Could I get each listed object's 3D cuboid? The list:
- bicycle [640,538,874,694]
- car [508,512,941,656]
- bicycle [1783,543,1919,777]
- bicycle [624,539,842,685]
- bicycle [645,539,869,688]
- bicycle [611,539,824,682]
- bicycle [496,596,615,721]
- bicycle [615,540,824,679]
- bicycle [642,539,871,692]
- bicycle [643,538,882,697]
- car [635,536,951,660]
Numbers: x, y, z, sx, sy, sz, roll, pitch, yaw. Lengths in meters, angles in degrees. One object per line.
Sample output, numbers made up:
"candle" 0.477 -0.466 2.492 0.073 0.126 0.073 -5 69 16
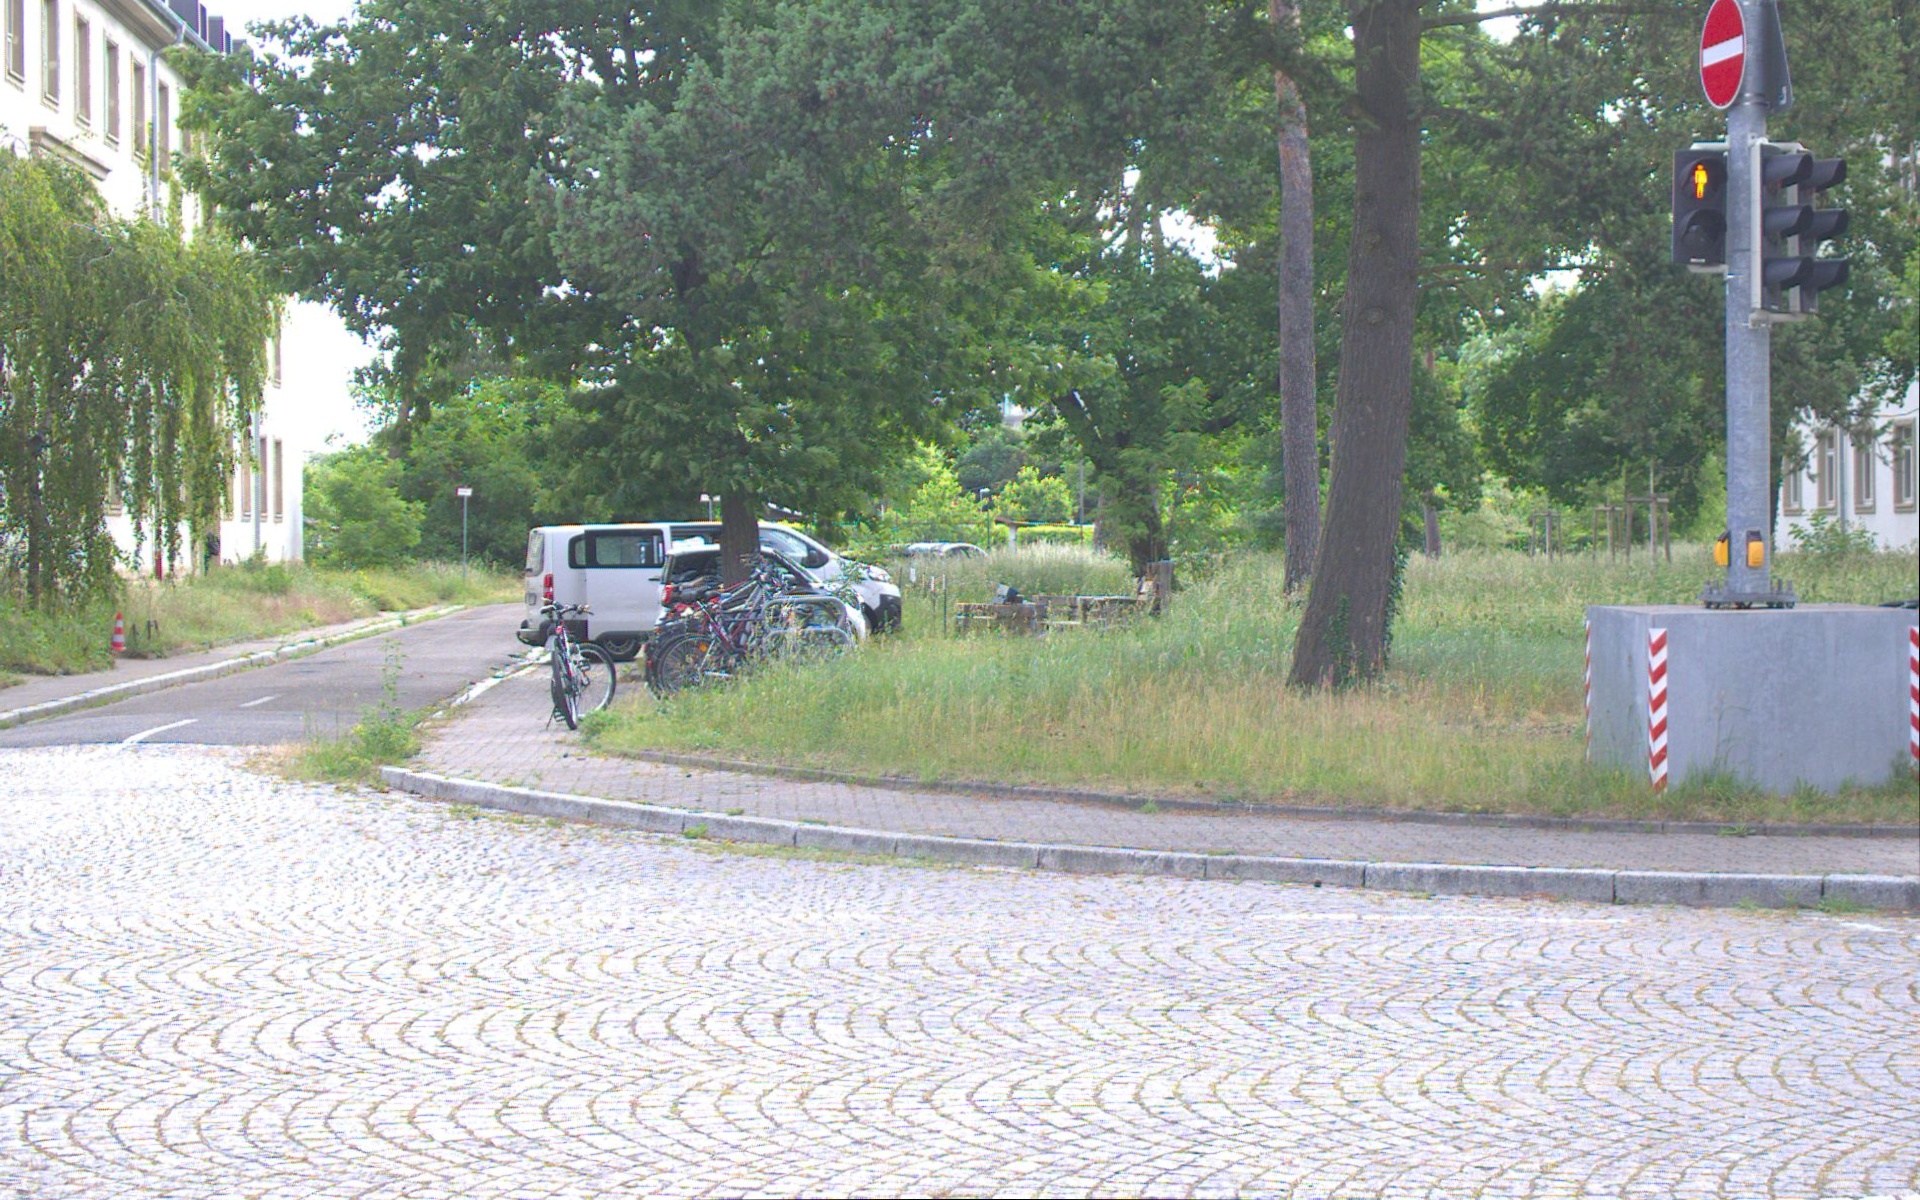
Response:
"bicycle" -1.817 0.138 30.864 2.069 1.373 0.620 0 1 -3
"car" -3.314 -0.249 48.029 5.690 1.904 2.231 -1 1 -15
"bicycle" 5.114 0.288 18.259 0.908 1.173 1.875 0 1 -4
"bicycle" -2.178 0.106 33.069 2.069 1.373 0.620 0 1 -3
"bicycle" -1.902 0.122 32.283 2.069 1.373 0.620 0 1 -3
"bicycle" -2.375 0.094 33.798 2.069 1.373 0.620 0 1 -3
"bicycle" -3.312 0.463 28.321 0.618 0.960 2.076 0 1 3
"bicycle" -2.408 0.087 34.544 2.069 1.373 0.620 0 1 -3
"bicycle" -1.860 0.131 31.487 2.069 1.373 0.620 0 1 -3
"bicycle" -1.731 0.147 30.197 2.069 1.373 0.620 0 1 -3
"car" -2.210 -0.047 44.713 3.931 1.539 2.001 0 1 -8
